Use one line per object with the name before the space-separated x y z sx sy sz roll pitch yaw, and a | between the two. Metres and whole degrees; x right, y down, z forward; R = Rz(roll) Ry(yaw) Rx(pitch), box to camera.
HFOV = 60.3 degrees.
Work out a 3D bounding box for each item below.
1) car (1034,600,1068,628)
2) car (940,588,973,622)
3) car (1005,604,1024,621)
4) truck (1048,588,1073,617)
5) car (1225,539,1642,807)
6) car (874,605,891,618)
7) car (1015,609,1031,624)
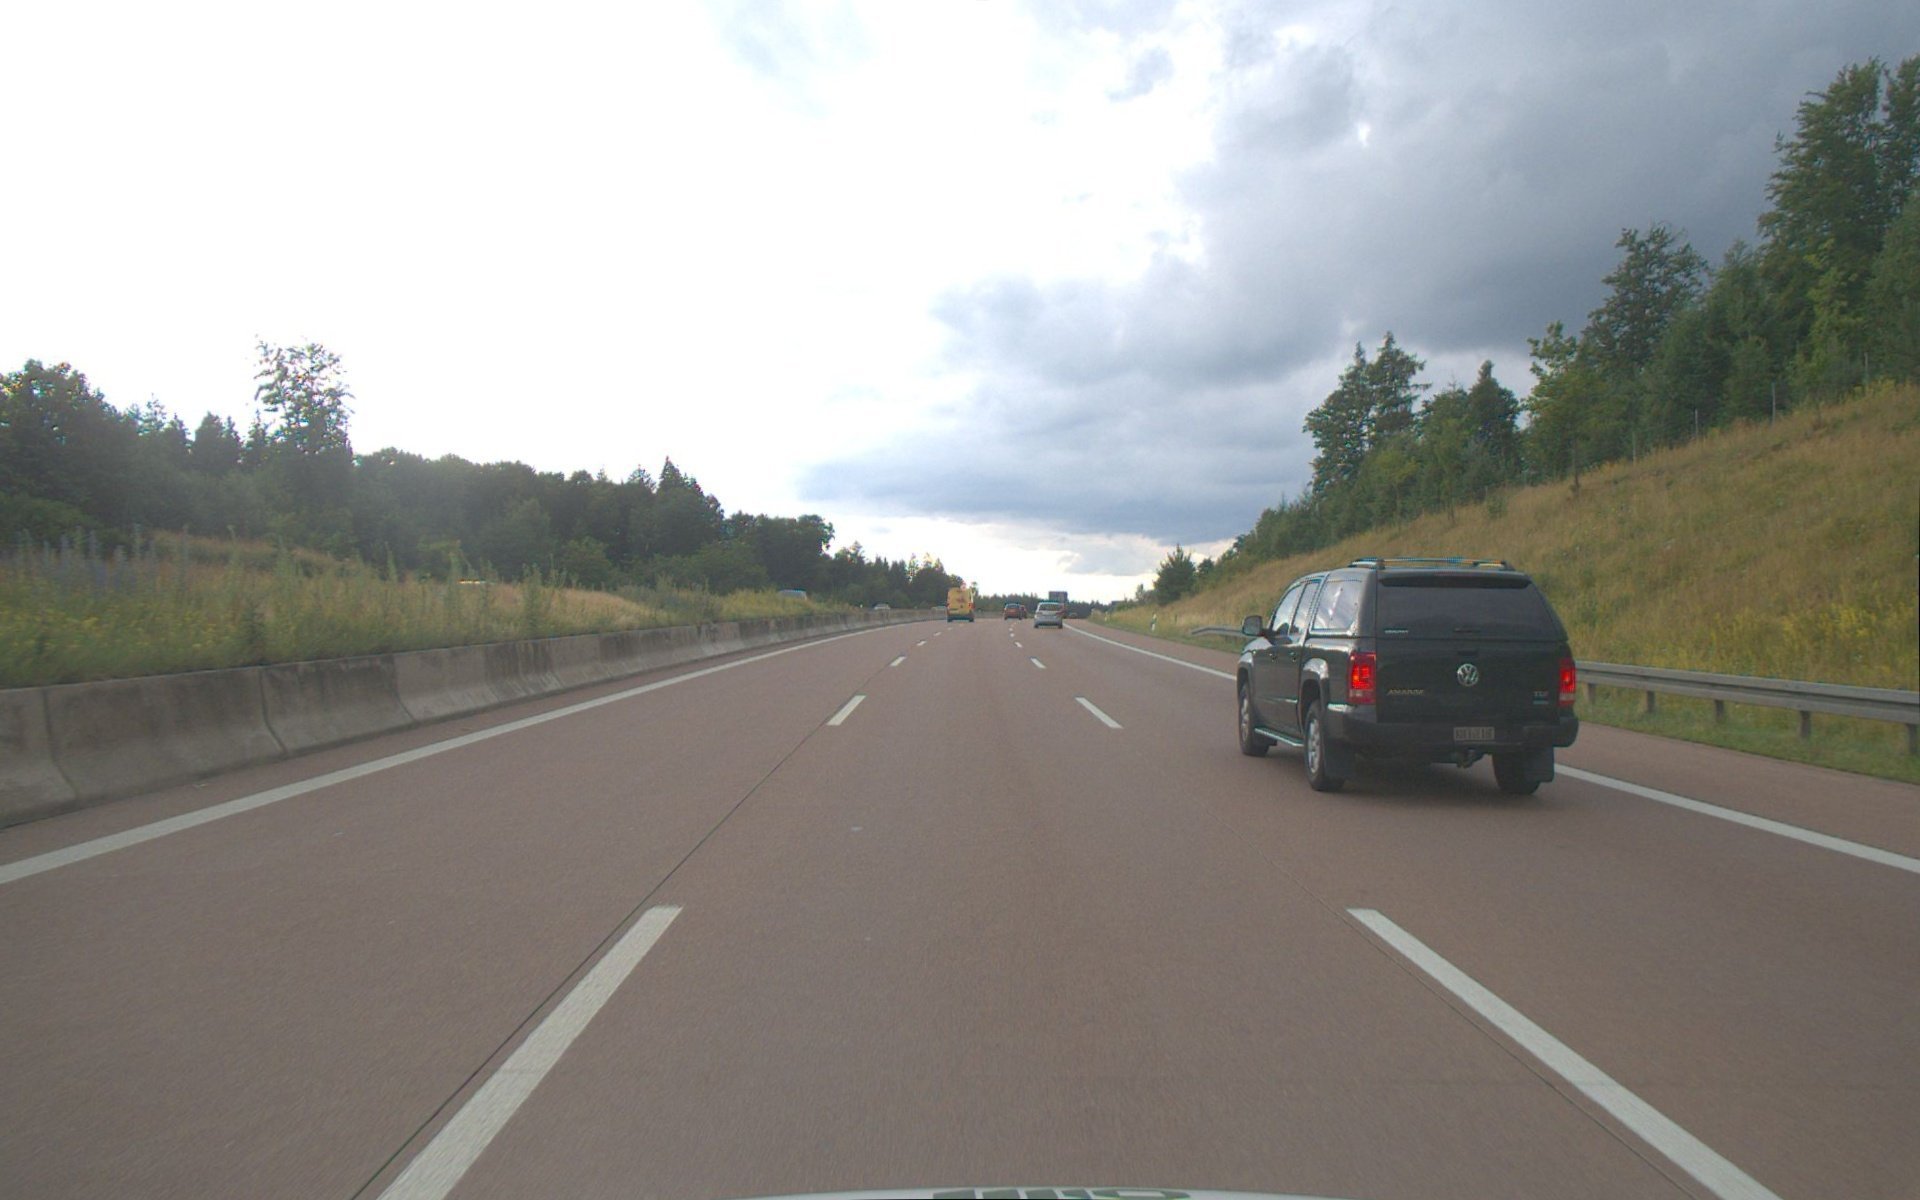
car | 5.673 0.873 102.745 1.936 1.677 4.621 1 0 5
car | -0.243 0.424 135.246 2.407 2.754 5.615 0 -1 3
car | 5.920 1.309 178.255 1.848 1.795 4.784 0 -1 4
truck | 15.394 0.445 253.248 3.603 3.981 12.820 1 -1 3
car | 3.877 0.557 14.755 2.003 1.930 5.575 0 -1 -1
car | -9.787 1.409 208.452 1.696 1.552 4.413 1 -1 3
car | 8.063 2.106 210.297 1.848 1.795 4.999 0 -1 4
